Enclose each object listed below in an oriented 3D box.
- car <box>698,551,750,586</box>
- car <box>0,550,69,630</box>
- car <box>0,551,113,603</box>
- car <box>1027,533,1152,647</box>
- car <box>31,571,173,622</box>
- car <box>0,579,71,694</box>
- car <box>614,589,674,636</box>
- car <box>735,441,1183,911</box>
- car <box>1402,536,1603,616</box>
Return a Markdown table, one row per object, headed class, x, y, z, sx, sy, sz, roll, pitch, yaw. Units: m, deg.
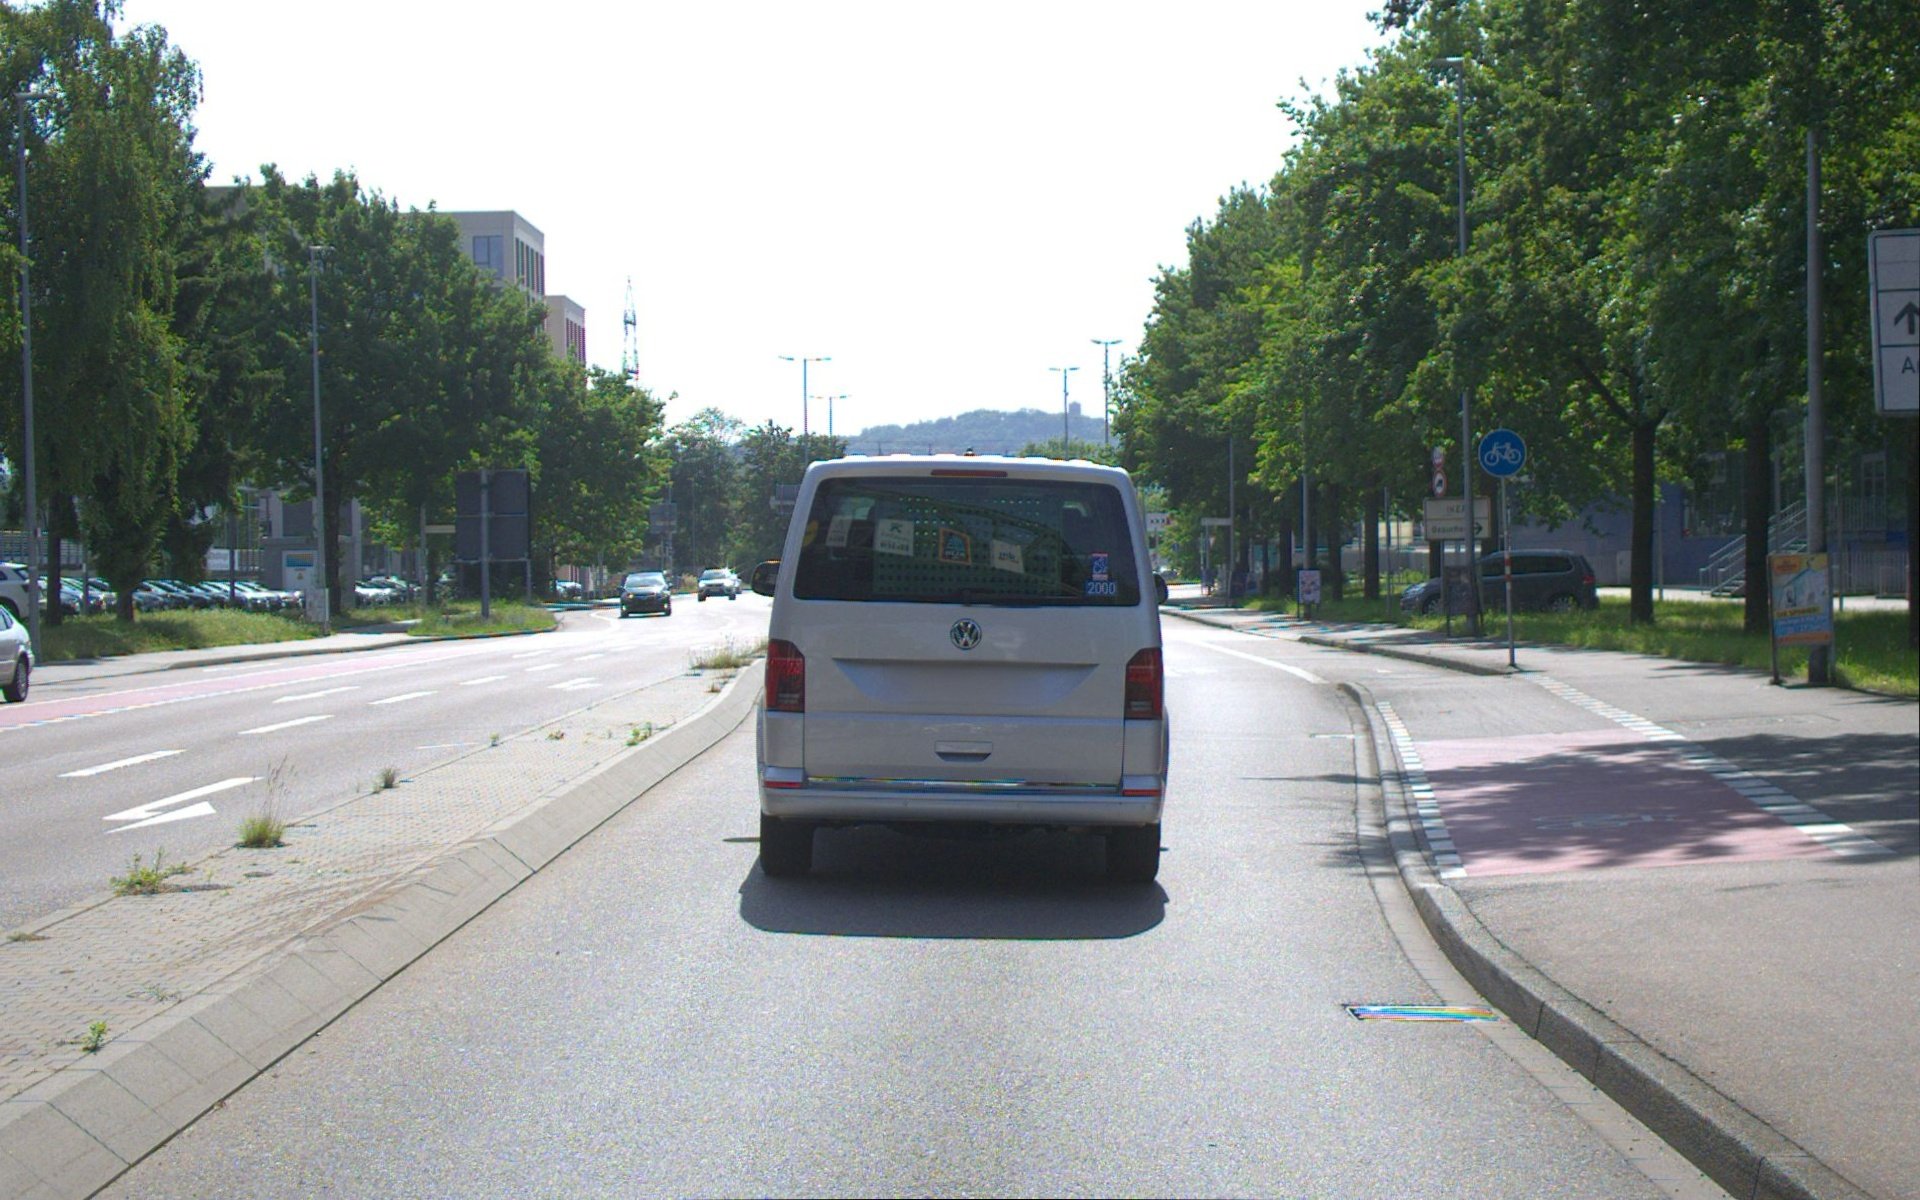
| class | x | y | z | sx | sy | sz | roll | pitch | yaw |
| --- | --- | --- | --- | --- | --- | --- | --- | --- | --- |
| car | -11.748 | -1.573 | 171.452 | 1.994 | 1.612 | 4.103 | -2 | 0 | 4 |
| car | -23.889 | -0.267 | 82.513 | 4.463 | 1.869 | 2.000 | 1 | 1 | 1 |
| car | -23.506 | -0.582 | 86.858 | 3.791 | 1.281 | 1.745 | 1 | 1 | -2 |
| car | 2.300 | -0.200 | 62.422 | 1.967 | 1.961 | 5.126 | 1 | 1 | -1 |
| car | -24.602 | -0.109 | 98.647 | 3.593 | 1.281 | 1.865 | -2 | 1 | -2 |
| car | -12.423 | 0.462 | 42.660 | 1.635 | 1.383 | 4.318 | -2 | 1 | 0 |
| car | -10.985 | 0.427 | 119.848 | 1.698 | 1.514 | 4.027 | -2 | 1 | -1 |
| car | -0.014 | 0.304 | 16.637 | 1.884 | 1.983 | 4.000 | 1 | 1 | 0 |
| car | 12.457 | -0.549 | 79.131 | 4.445 | 1.688 | 1.844 | -2 | 0 | 7 |
